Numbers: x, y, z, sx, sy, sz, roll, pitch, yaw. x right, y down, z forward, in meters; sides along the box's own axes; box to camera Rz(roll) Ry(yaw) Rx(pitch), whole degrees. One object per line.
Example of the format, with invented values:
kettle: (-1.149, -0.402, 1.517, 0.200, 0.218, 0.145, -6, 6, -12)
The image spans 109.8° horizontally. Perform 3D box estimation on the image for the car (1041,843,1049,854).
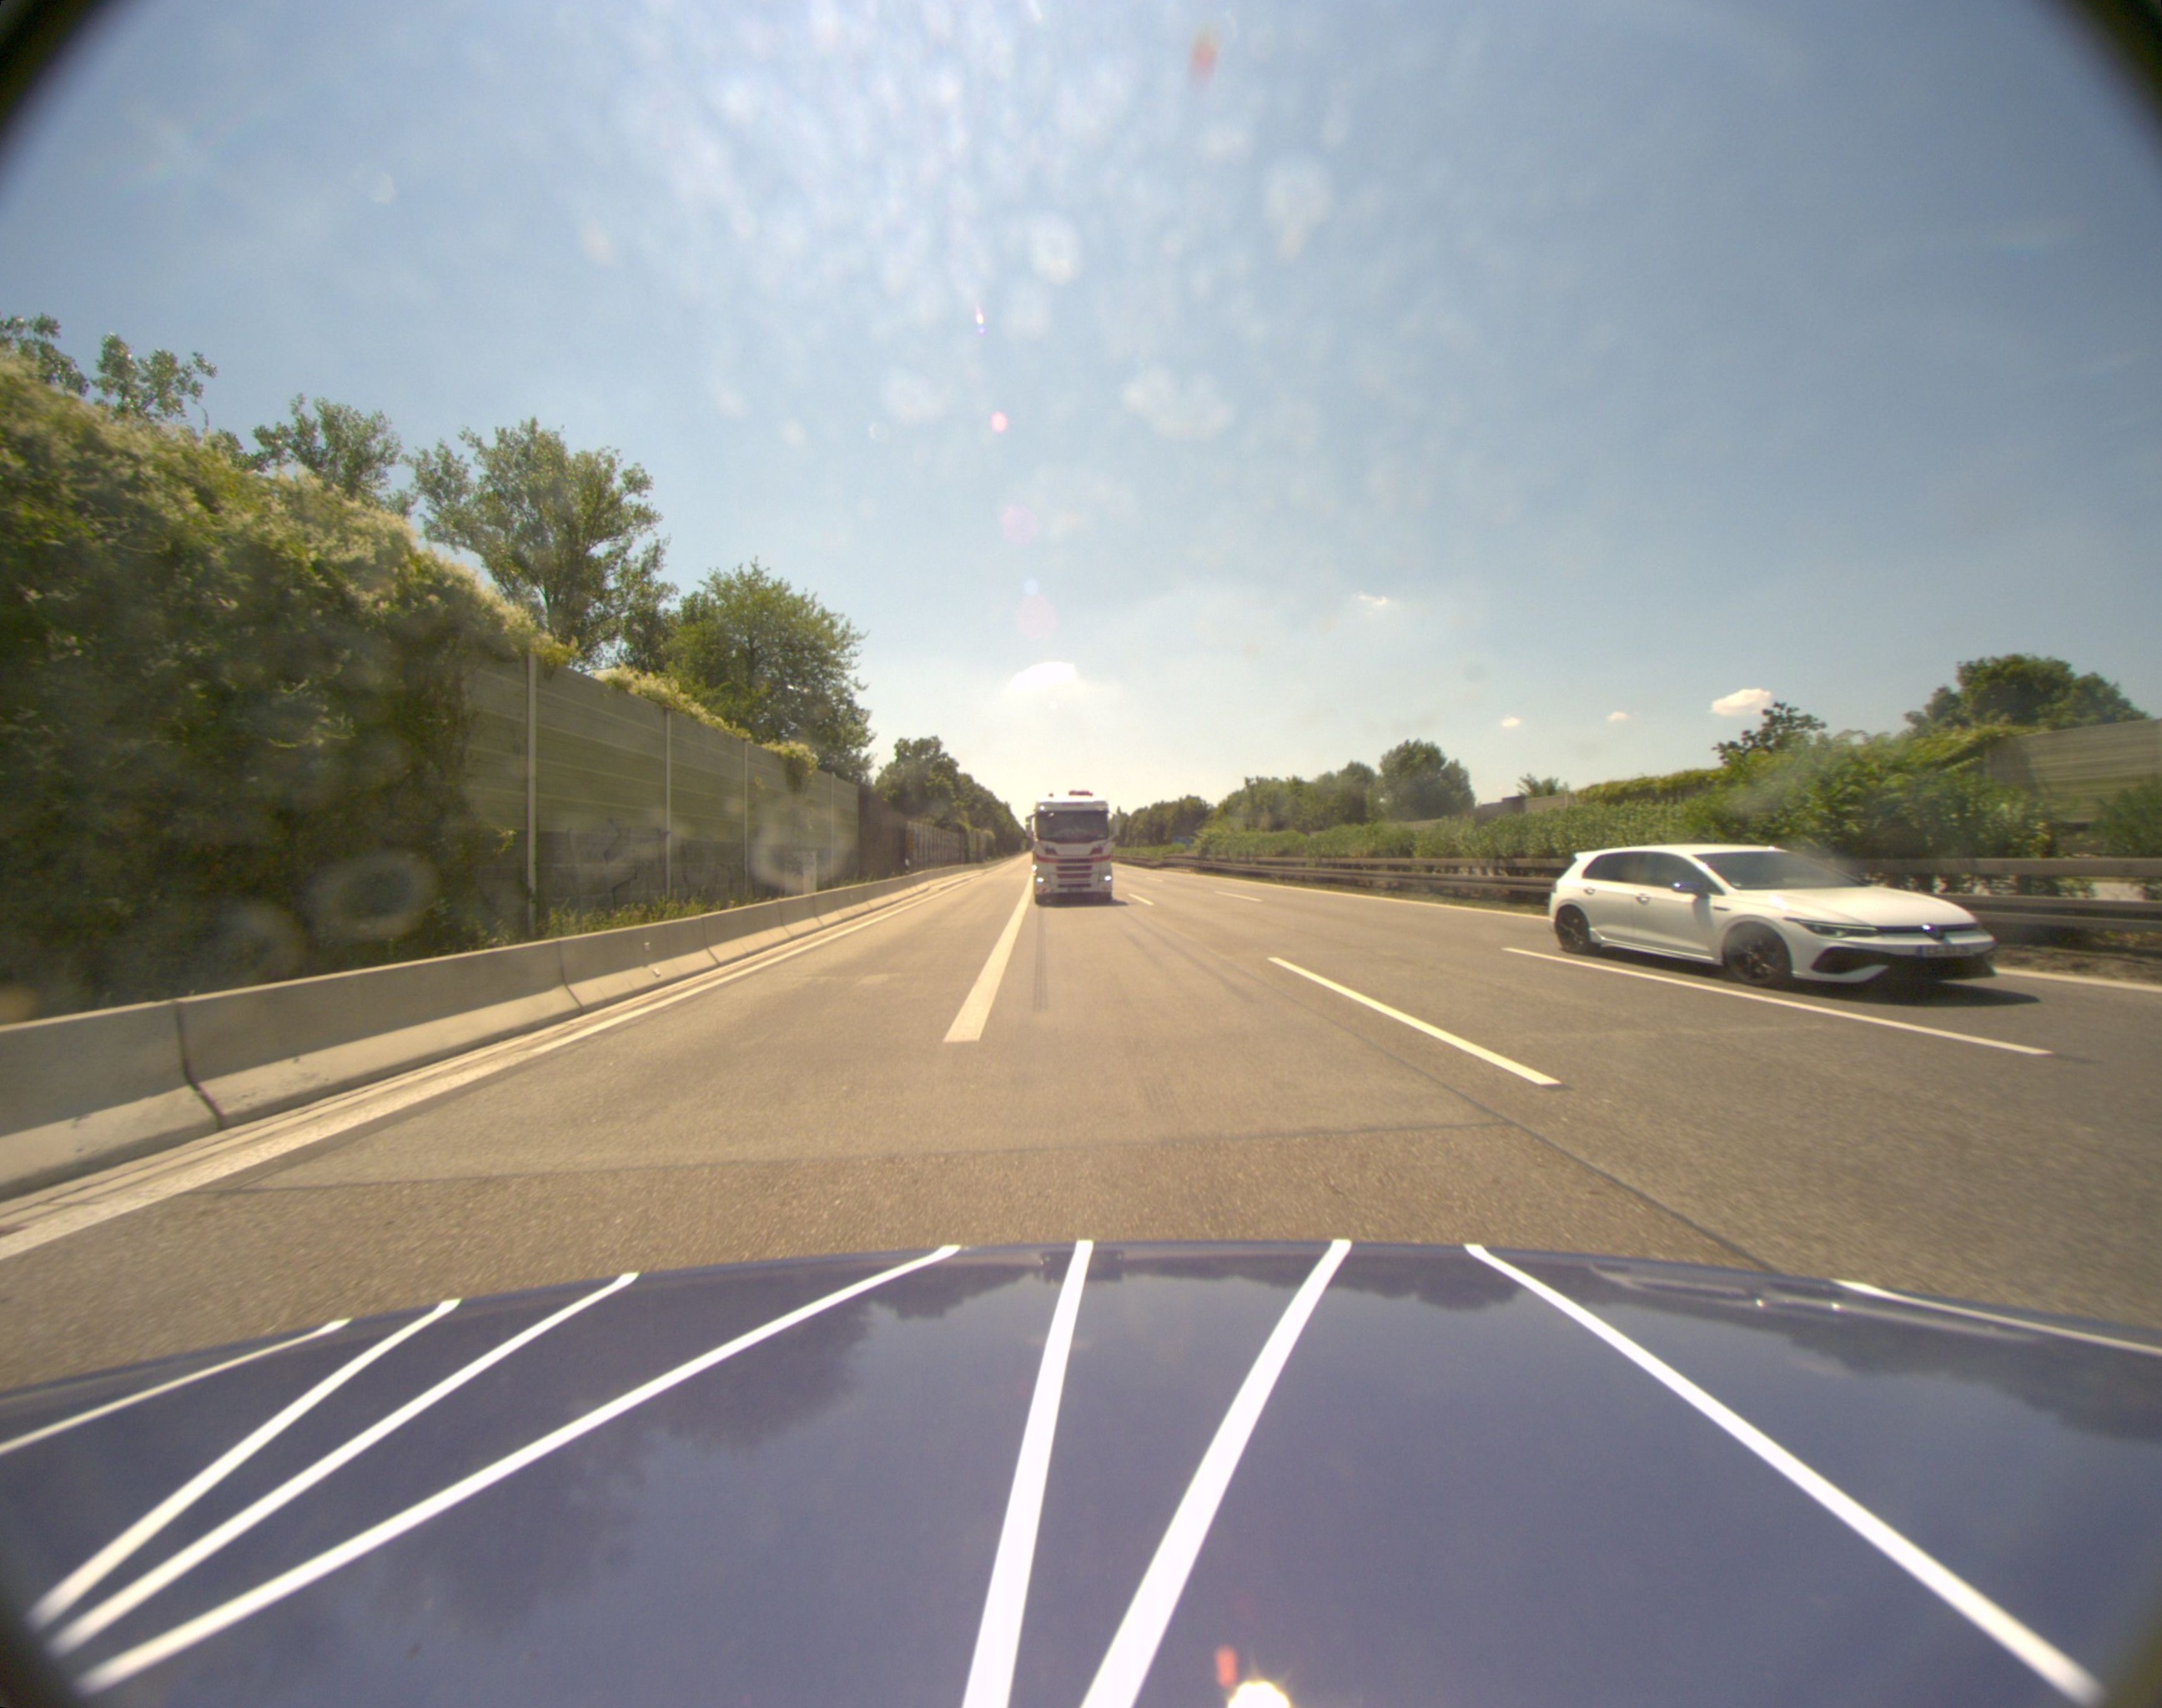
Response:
car: (-11.416, -1.736, 238.838, 2.116, 3.283, 6.443, -3, -1, -4)

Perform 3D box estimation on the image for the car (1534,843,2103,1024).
car: (7.457, 0.654, 8.569, 1.786, 1.432, 4.668, -2, 0, -2)

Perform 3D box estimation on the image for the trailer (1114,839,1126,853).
trailer: (11.796, -2.443, 229.476, 2.713, 3.830, 13.670, -2, 1, -1)

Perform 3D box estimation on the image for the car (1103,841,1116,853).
car: (6.735, -1.655, 181.466, 2.247, 2.742, 6.217, -2, 1, -4)

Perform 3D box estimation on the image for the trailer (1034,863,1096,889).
trailer: (-0.887, 1.030, 37.949, 2.722, 0.929, 7.757, -3, 0, -3)

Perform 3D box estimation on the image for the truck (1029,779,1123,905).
truck: (-0.486, -0.372, 28.711, 2.722, 3.780, 10.668, -3, 0, -4)
